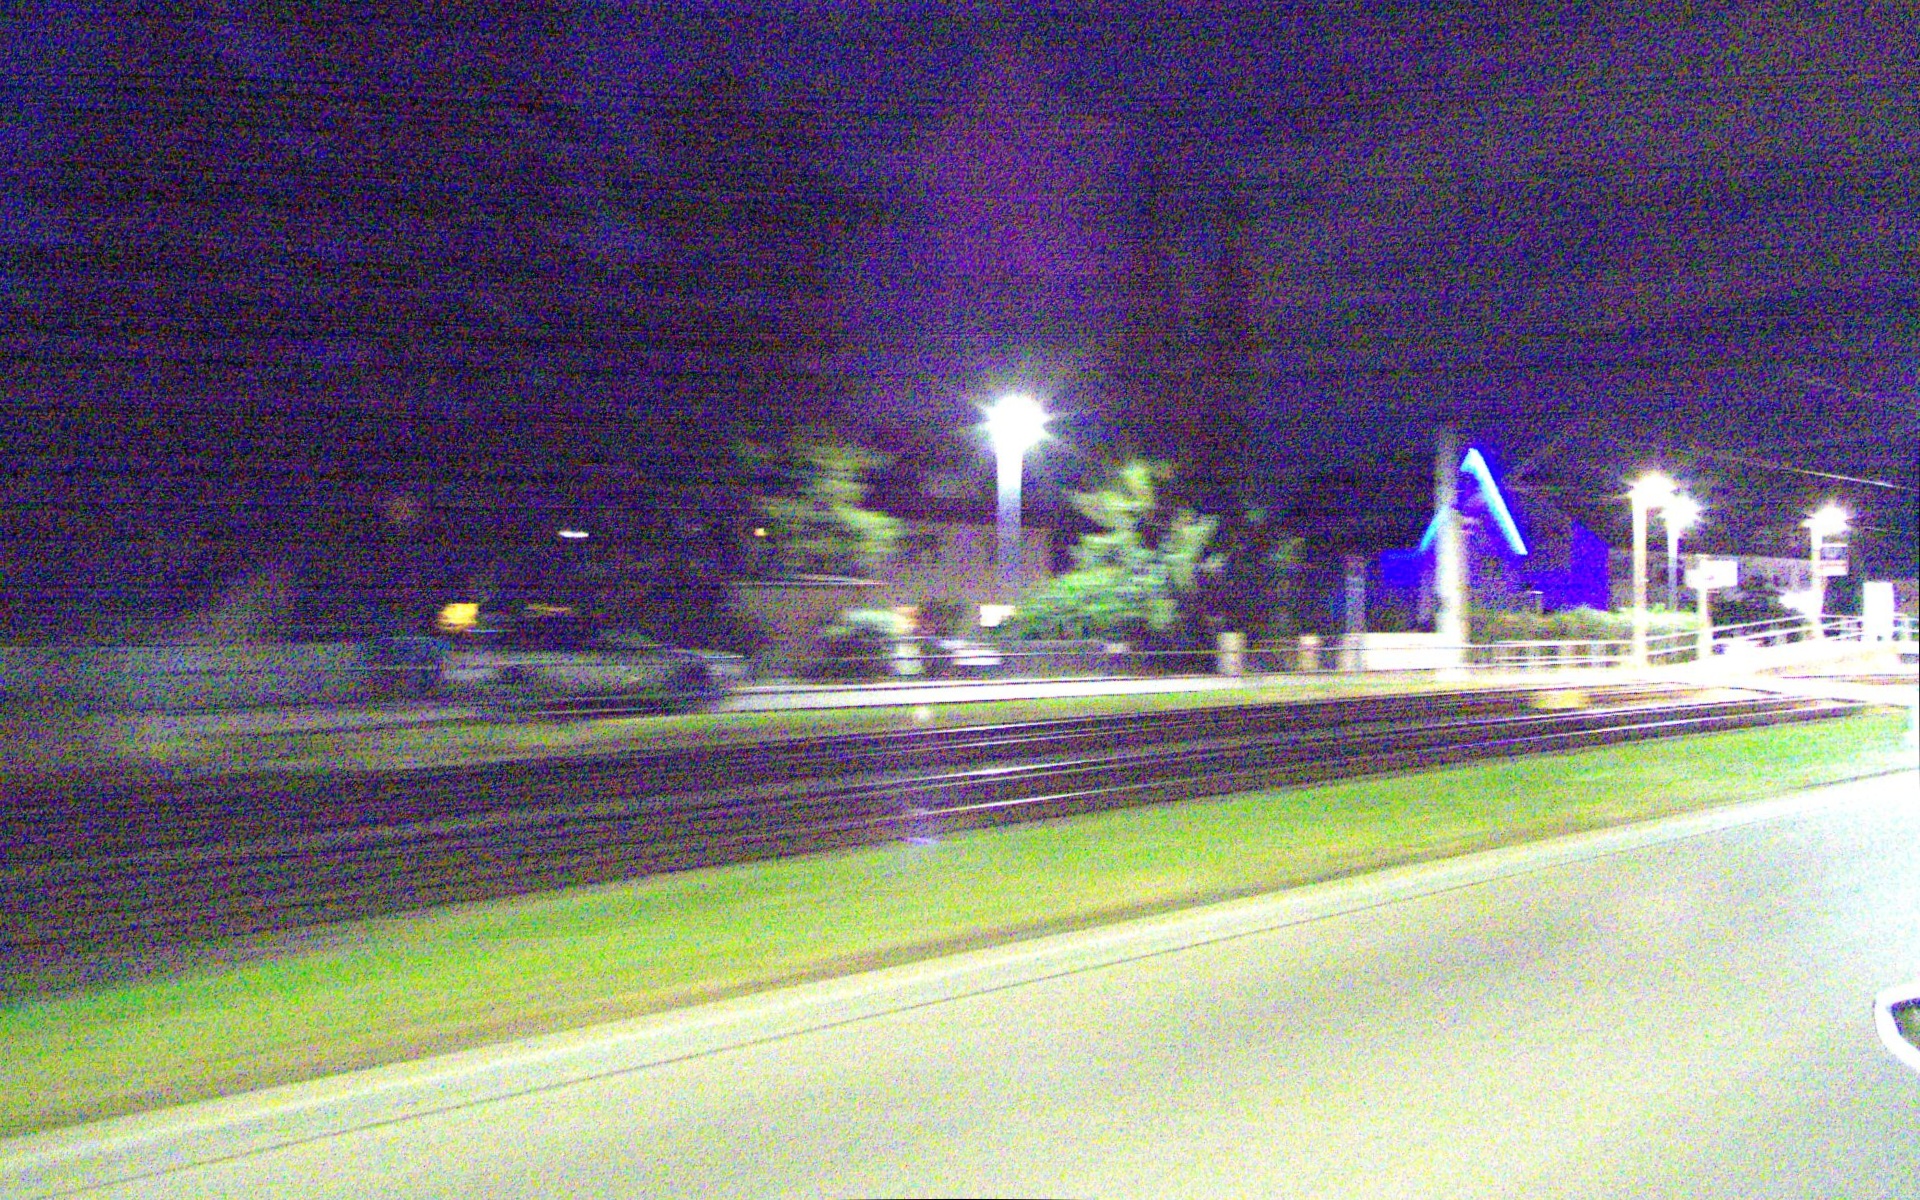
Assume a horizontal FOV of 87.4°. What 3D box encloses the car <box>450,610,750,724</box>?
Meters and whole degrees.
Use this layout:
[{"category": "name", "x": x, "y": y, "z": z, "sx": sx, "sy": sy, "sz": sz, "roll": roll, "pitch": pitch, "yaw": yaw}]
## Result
[{"category": "car", "x": -5.477, "y": 0.966, "z": 15.418, "sx": 4.049, "sy": 1.525, "sz": 1.855, "roll": 1, "pitch": -2, "yaw": -32}]
